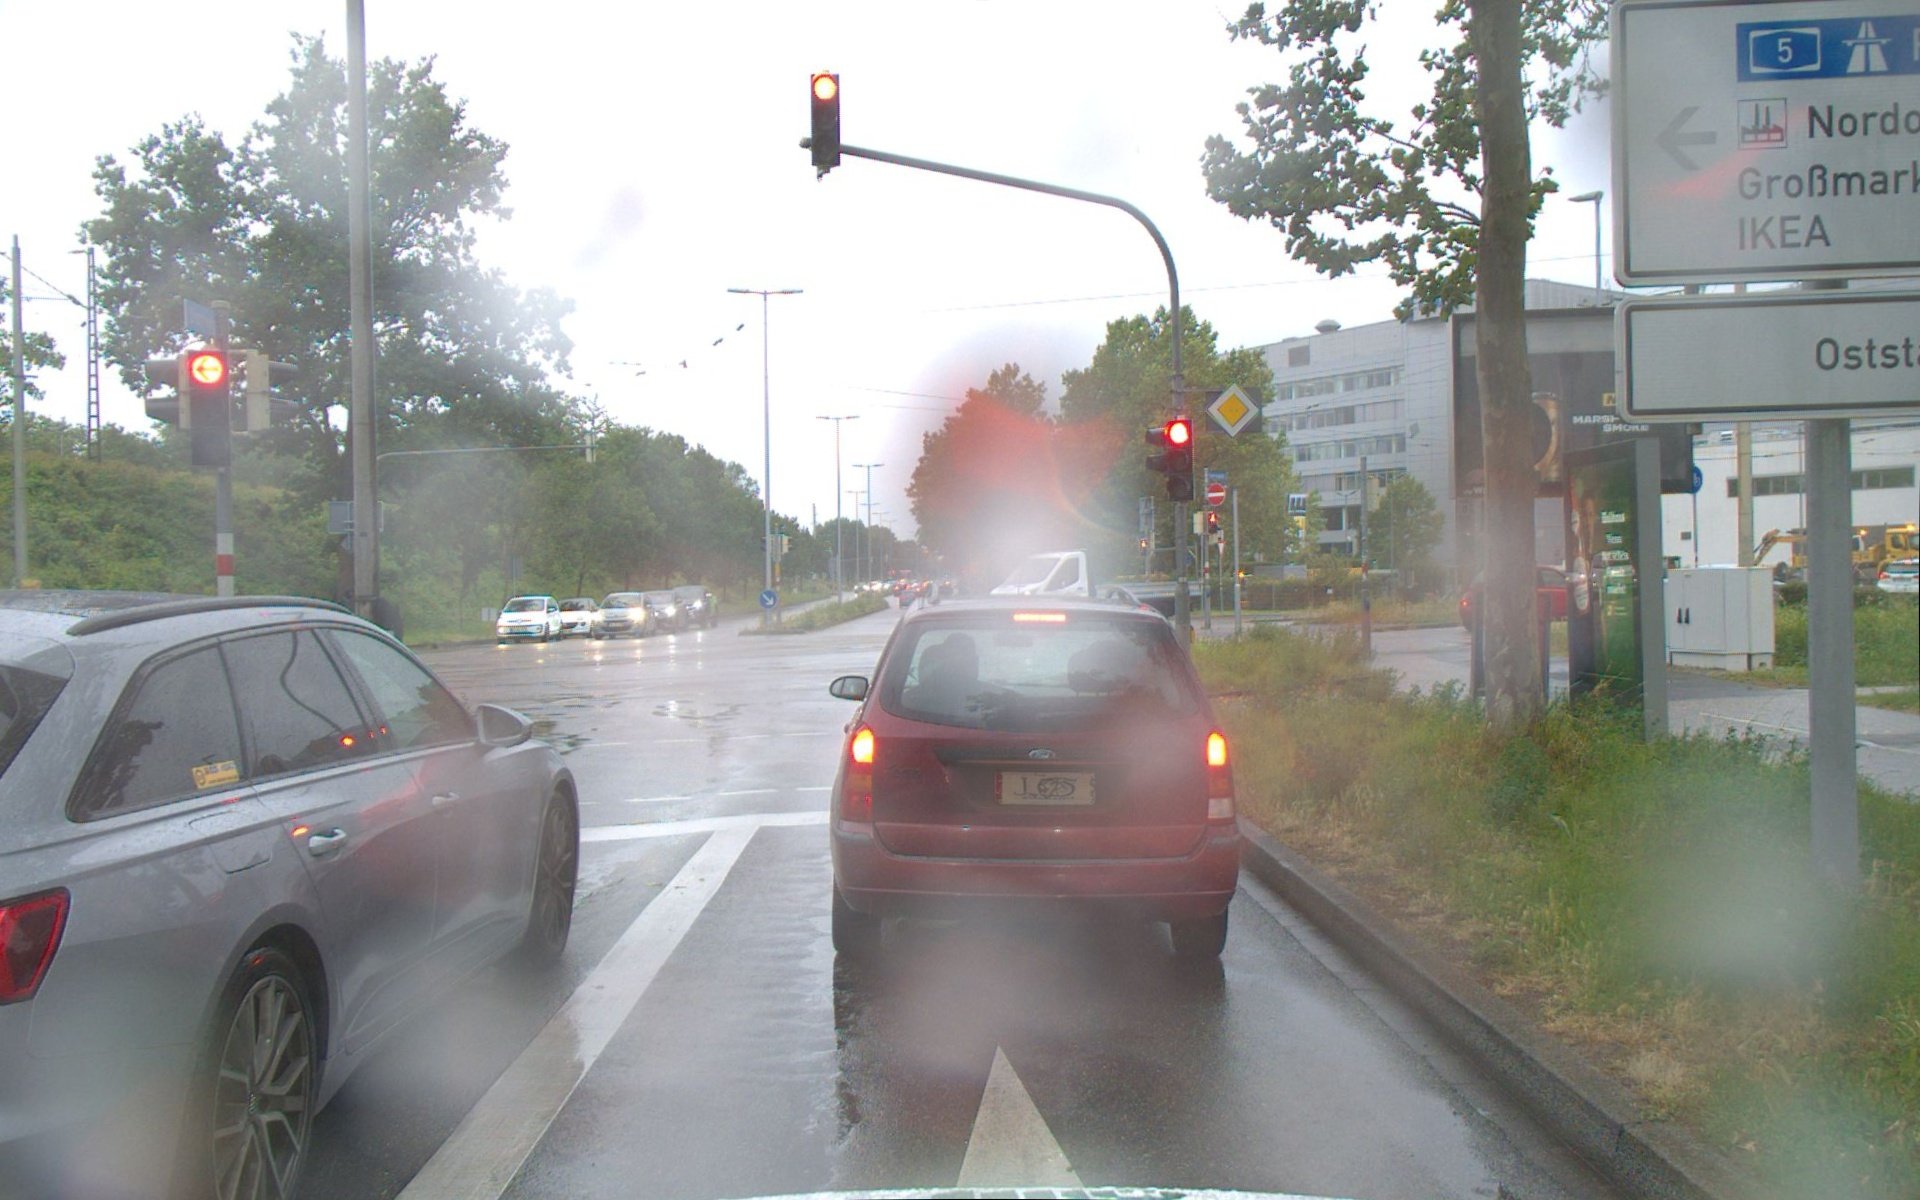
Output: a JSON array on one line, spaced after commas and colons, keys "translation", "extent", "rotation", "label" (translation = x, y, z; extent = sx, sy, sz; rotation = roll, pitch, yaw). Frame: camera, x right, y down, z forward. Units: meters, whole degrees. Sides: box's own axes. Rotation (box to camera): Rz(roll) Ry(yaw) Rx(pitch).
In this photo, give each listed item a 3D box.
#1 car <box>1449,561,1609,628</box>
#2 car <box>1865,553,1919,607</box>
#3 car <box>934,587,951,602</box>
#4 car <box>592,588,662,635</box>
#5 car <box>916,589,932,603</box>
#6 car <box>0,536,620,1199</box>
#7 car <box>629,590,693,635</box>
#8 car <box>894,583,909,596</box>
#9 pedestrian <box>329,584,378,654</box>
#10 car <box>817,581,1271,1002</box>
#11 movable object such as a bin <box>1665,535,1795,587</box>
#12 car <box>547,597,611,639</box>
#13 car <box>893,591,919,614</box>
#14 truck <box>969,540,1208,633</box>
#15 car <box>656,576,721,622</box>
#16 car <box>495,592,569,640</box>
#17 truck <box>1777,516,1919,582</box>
[{"translation": [13.490, -0.143, 39.177], "extent": [3.769, 1.517, 1.659], "rotation": [0, 0, -33], "label": "car"}, {"translation": [30.700, -0.643, 52.330], "extent": [4.575, 1.614, 1.902], "rotation": [-1, 0, -37], "label": "car"}, {"translation": [-1.824, -0.569, 169.878], "extent": [1.636, 1.554, 3.846], "rotation": [-1, 0, 1], "label": "car"}, {"translation": [-11.234, 0.365, 55.981], "extent": [1.605, 1.499, 3.964], "rotation": [-2, 1, -1], "label": "car"}, {"translation": [-4.236, -0.464, 193.997], "extent": [1.663, 1.554, 3.846], "rotation": [-1, 0, 0], "label": "car"}, {"translation": [-2.305, 0.668, 4.843], "extent": [1.733, 1.601, 4.819], "rotation": [1, 0, -2], "label": "car"}, {"translation": [-11.357, 0.458, 63.087], "extent": [1.727, 1.614, 4.811], "rotation": [-2, 0, -2], "label": "car"}, {"translation": [-7.122, -1.282, 202.376], "extent": [1.663, 1.554, 3.846], "rotation": [-1, 0, 1], "label": "car"}, {"translation": [-16.657, 0.503, 45.442], "extent": [1.083, 1.879, 1.127], "rotation": [-1, 0, -13], "label": "pedestrian"}, {"translation": [0.250, 0.673, 7.804], "extent": [1.609, 1.490, 3.731], "rotation": [1, 0, -2], "label": "car"}, {"translation": [48.345, -2.418, 103.978], "extent": [3.292, 3.048, 6.634], "rotation": [-2, 0, -36], "label": "movable object such as a bin"}, {"translation": [-14.070, 0.629, 61.219], "extent": [1.558, 1.428, 3.822], "rotation": [-2, 1, -2], "label": "car"}, {"translation": [-4.277, 0.209, 131.246], "extent": [1.954, 1.822, 3.998], "rotation": [1, 0, -3], "label": "car"}, {"translation": [3.644, -0.415, 45.926], "extent": [6.799, 2.406, 2.448], "rotation": [-1, 0, -39], "label": "truck"}, {"translation": [-11.638, -0.054, 71.288], "extent": [2.024, 1.851, 5.539], "rotation": [-2, 1, -2], "label": "car"}, {"translation": [-14.169, 0.488, 54.892], "extent": [1.605, 1.478, 3.785], "rotation": [-2, 1, -3], "label": "car"}, {"translation": [52.798, -2.943, 97.367], "extent": [3.292, 3.568, 7.789], "rotation": [-2, 0, -36], "label": "truck"}]
